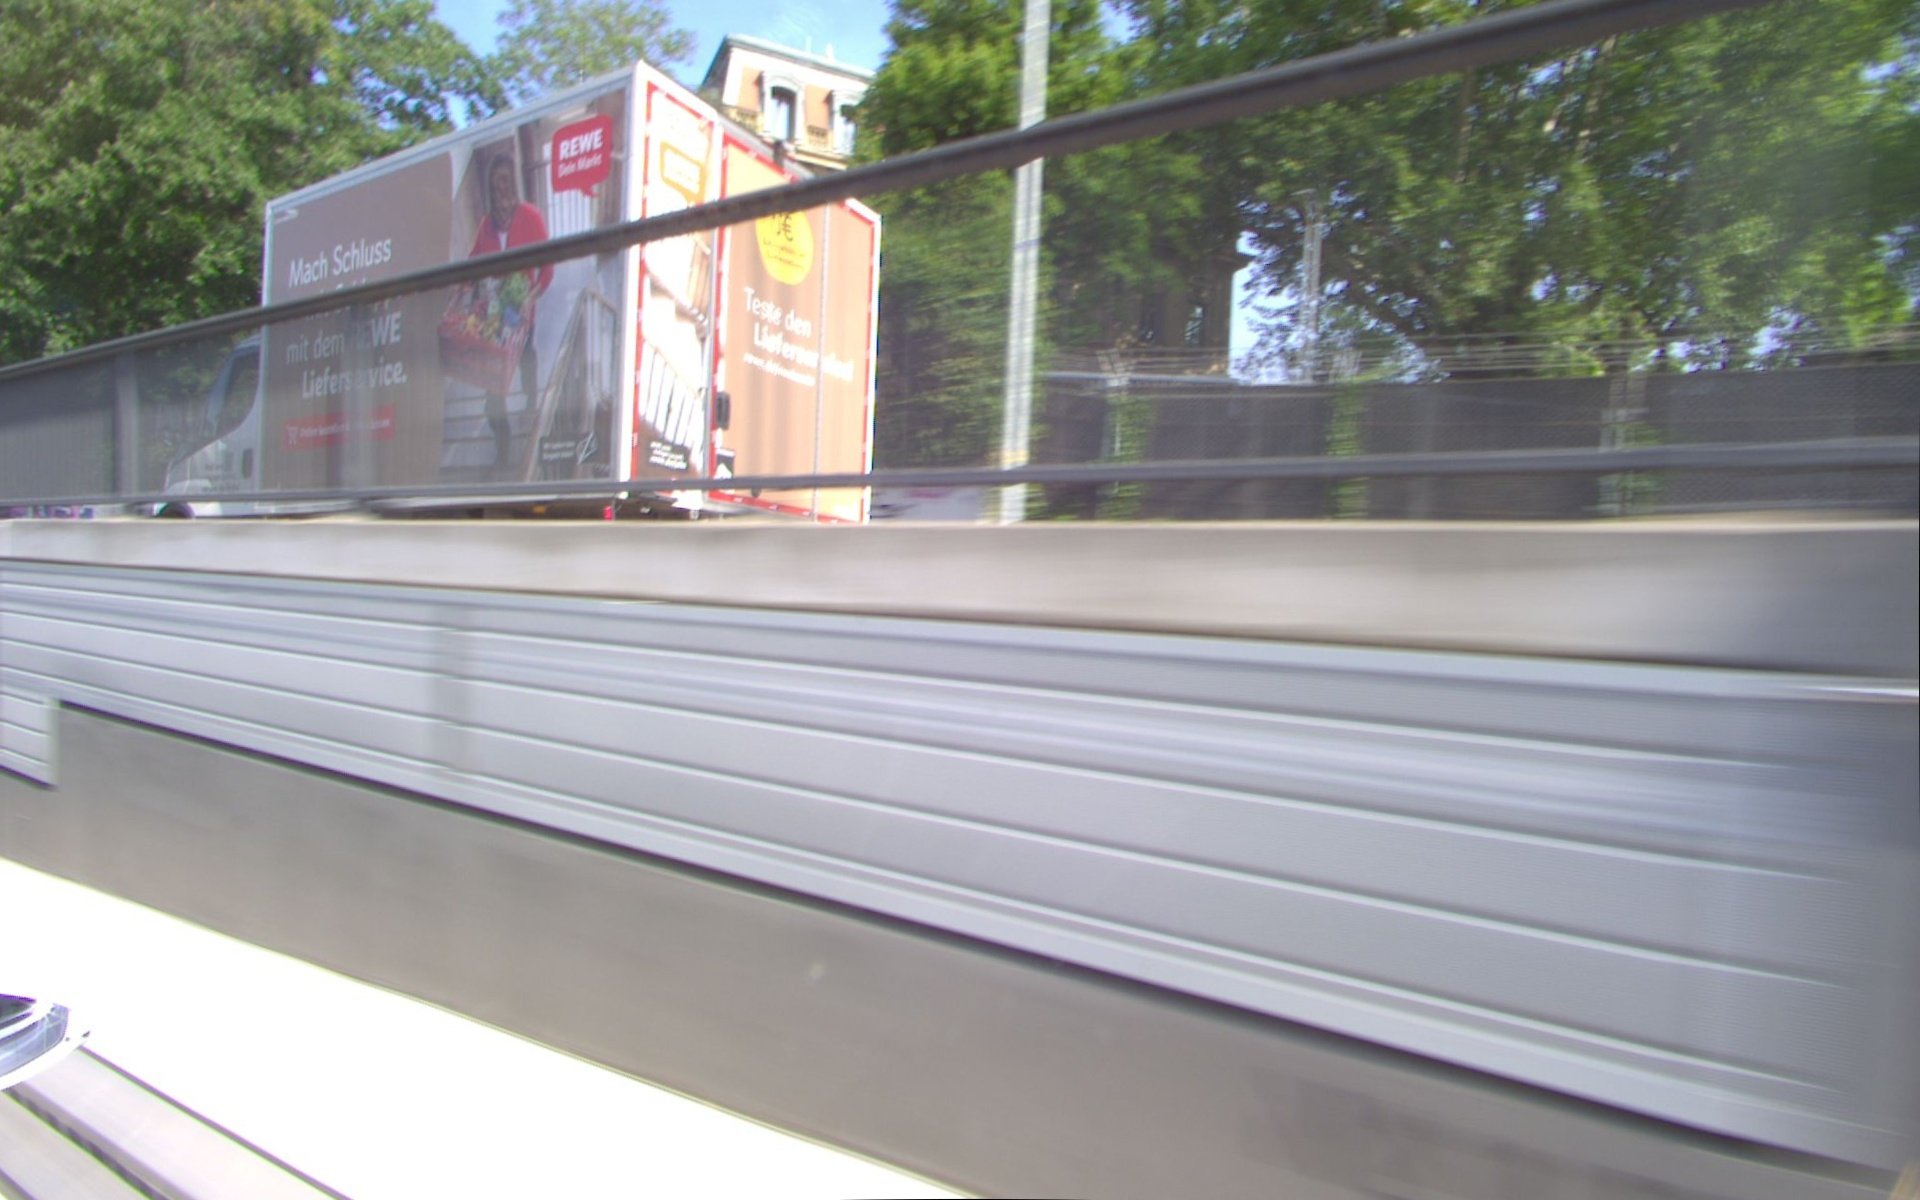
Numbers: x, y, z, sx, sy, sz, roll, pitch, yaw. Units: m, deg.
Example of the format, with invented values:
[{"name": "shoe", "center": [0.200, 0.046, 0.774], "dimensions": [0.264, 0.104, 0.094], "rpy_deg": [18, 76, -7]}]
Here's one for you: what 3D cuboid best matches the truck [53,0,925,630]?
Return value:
[{"name": "truck", "center": [-4.207, -1.540, 7.960], "dimensions": [7.707, 3.100, 2.498], "rpy_deg": [3, 0, 33]}]
